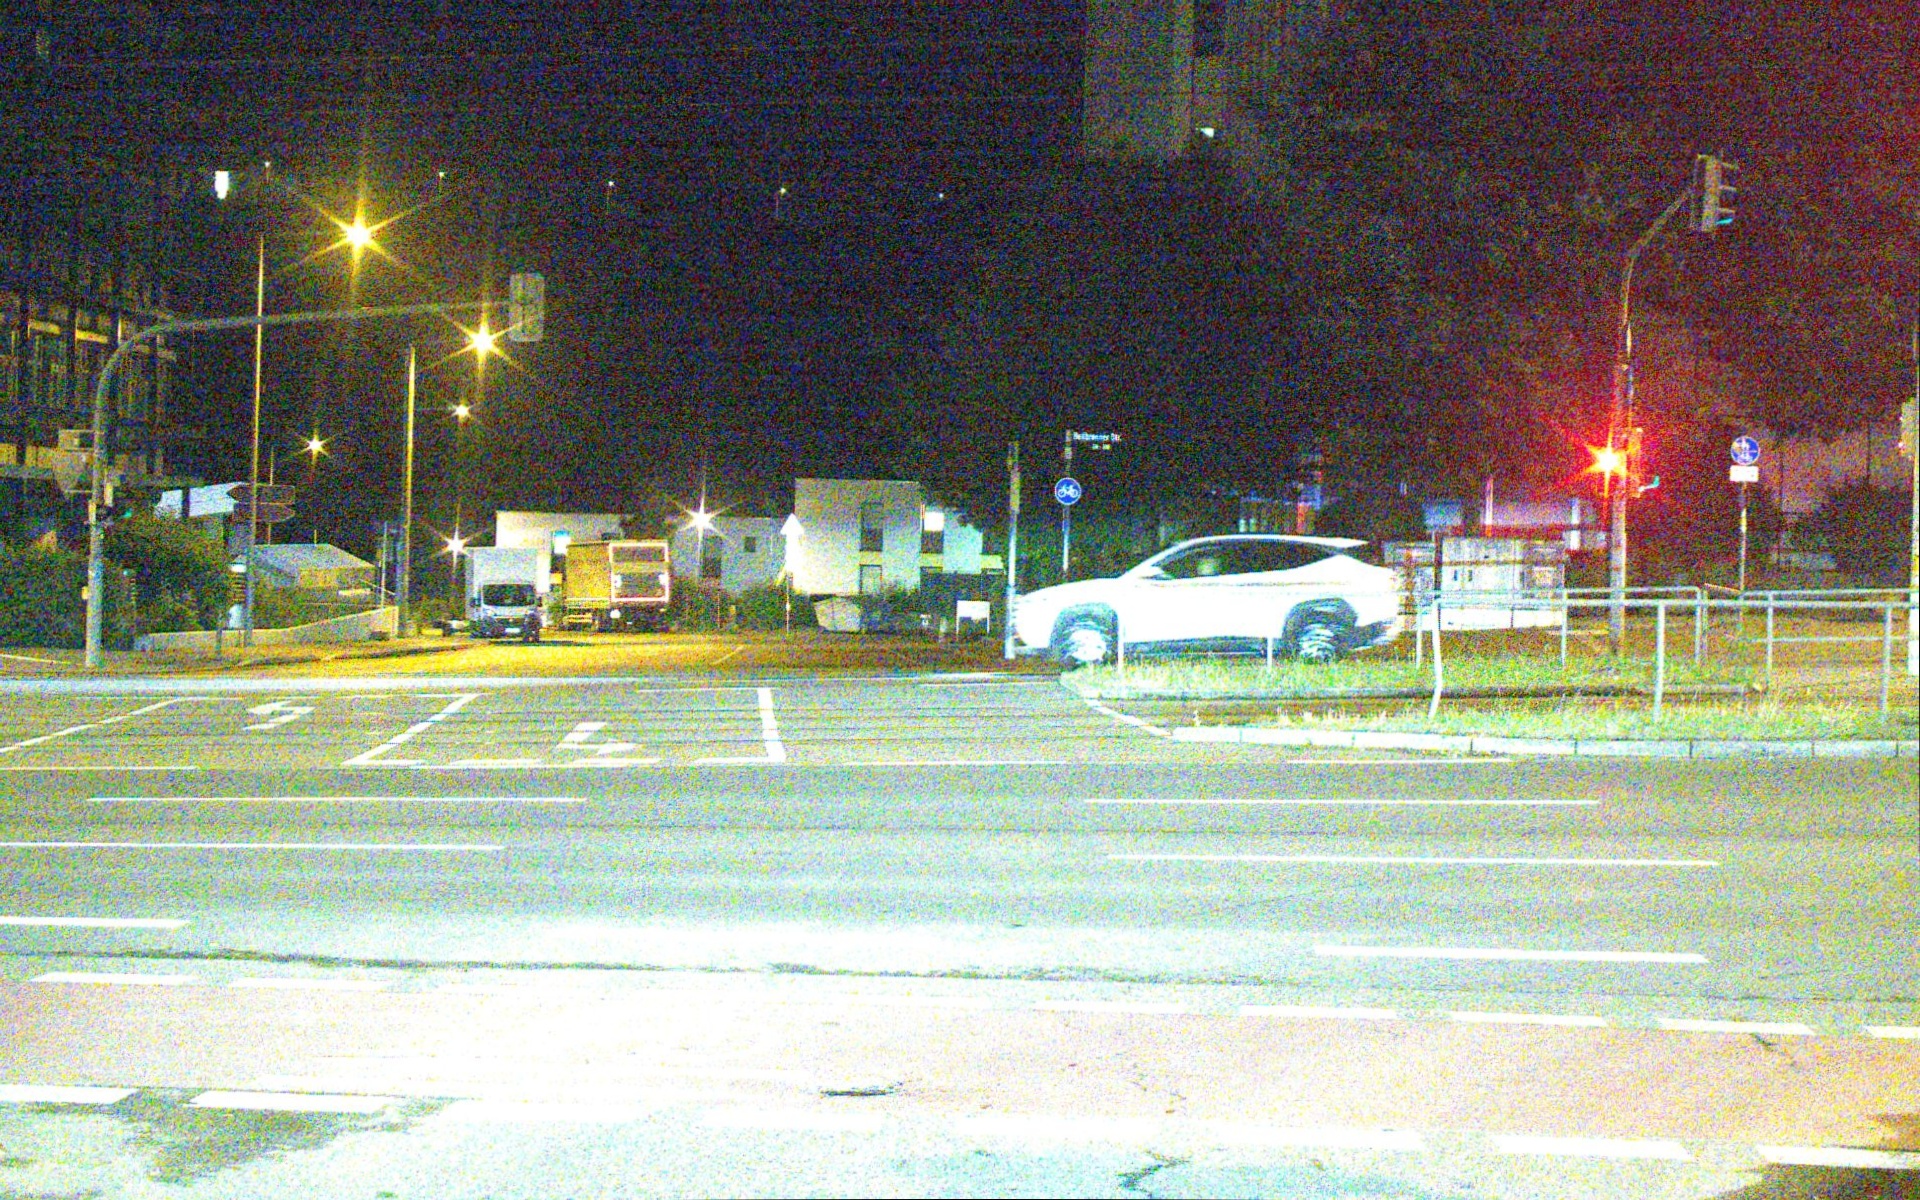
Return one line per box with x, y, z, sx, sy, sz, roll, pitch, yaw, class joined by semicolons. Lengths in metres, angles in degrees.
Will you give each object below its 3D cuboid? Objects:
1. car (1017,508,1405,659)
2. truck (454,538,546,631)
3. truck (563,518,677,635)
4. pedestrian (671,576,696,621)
2.910;-0.191;40.310;4.398;1.638;1.941;1;0;3;car
-16.037;-0.525;119.597;2.417;3.078;6.439;1;0;-14;truck
-14.777;-0.999;148.850;3.359;4.826;7.908;1;0;-17;truck
-11.862;-0.061;147.513;0.849;1.905;1.007;1;0;-18;pedestrian
